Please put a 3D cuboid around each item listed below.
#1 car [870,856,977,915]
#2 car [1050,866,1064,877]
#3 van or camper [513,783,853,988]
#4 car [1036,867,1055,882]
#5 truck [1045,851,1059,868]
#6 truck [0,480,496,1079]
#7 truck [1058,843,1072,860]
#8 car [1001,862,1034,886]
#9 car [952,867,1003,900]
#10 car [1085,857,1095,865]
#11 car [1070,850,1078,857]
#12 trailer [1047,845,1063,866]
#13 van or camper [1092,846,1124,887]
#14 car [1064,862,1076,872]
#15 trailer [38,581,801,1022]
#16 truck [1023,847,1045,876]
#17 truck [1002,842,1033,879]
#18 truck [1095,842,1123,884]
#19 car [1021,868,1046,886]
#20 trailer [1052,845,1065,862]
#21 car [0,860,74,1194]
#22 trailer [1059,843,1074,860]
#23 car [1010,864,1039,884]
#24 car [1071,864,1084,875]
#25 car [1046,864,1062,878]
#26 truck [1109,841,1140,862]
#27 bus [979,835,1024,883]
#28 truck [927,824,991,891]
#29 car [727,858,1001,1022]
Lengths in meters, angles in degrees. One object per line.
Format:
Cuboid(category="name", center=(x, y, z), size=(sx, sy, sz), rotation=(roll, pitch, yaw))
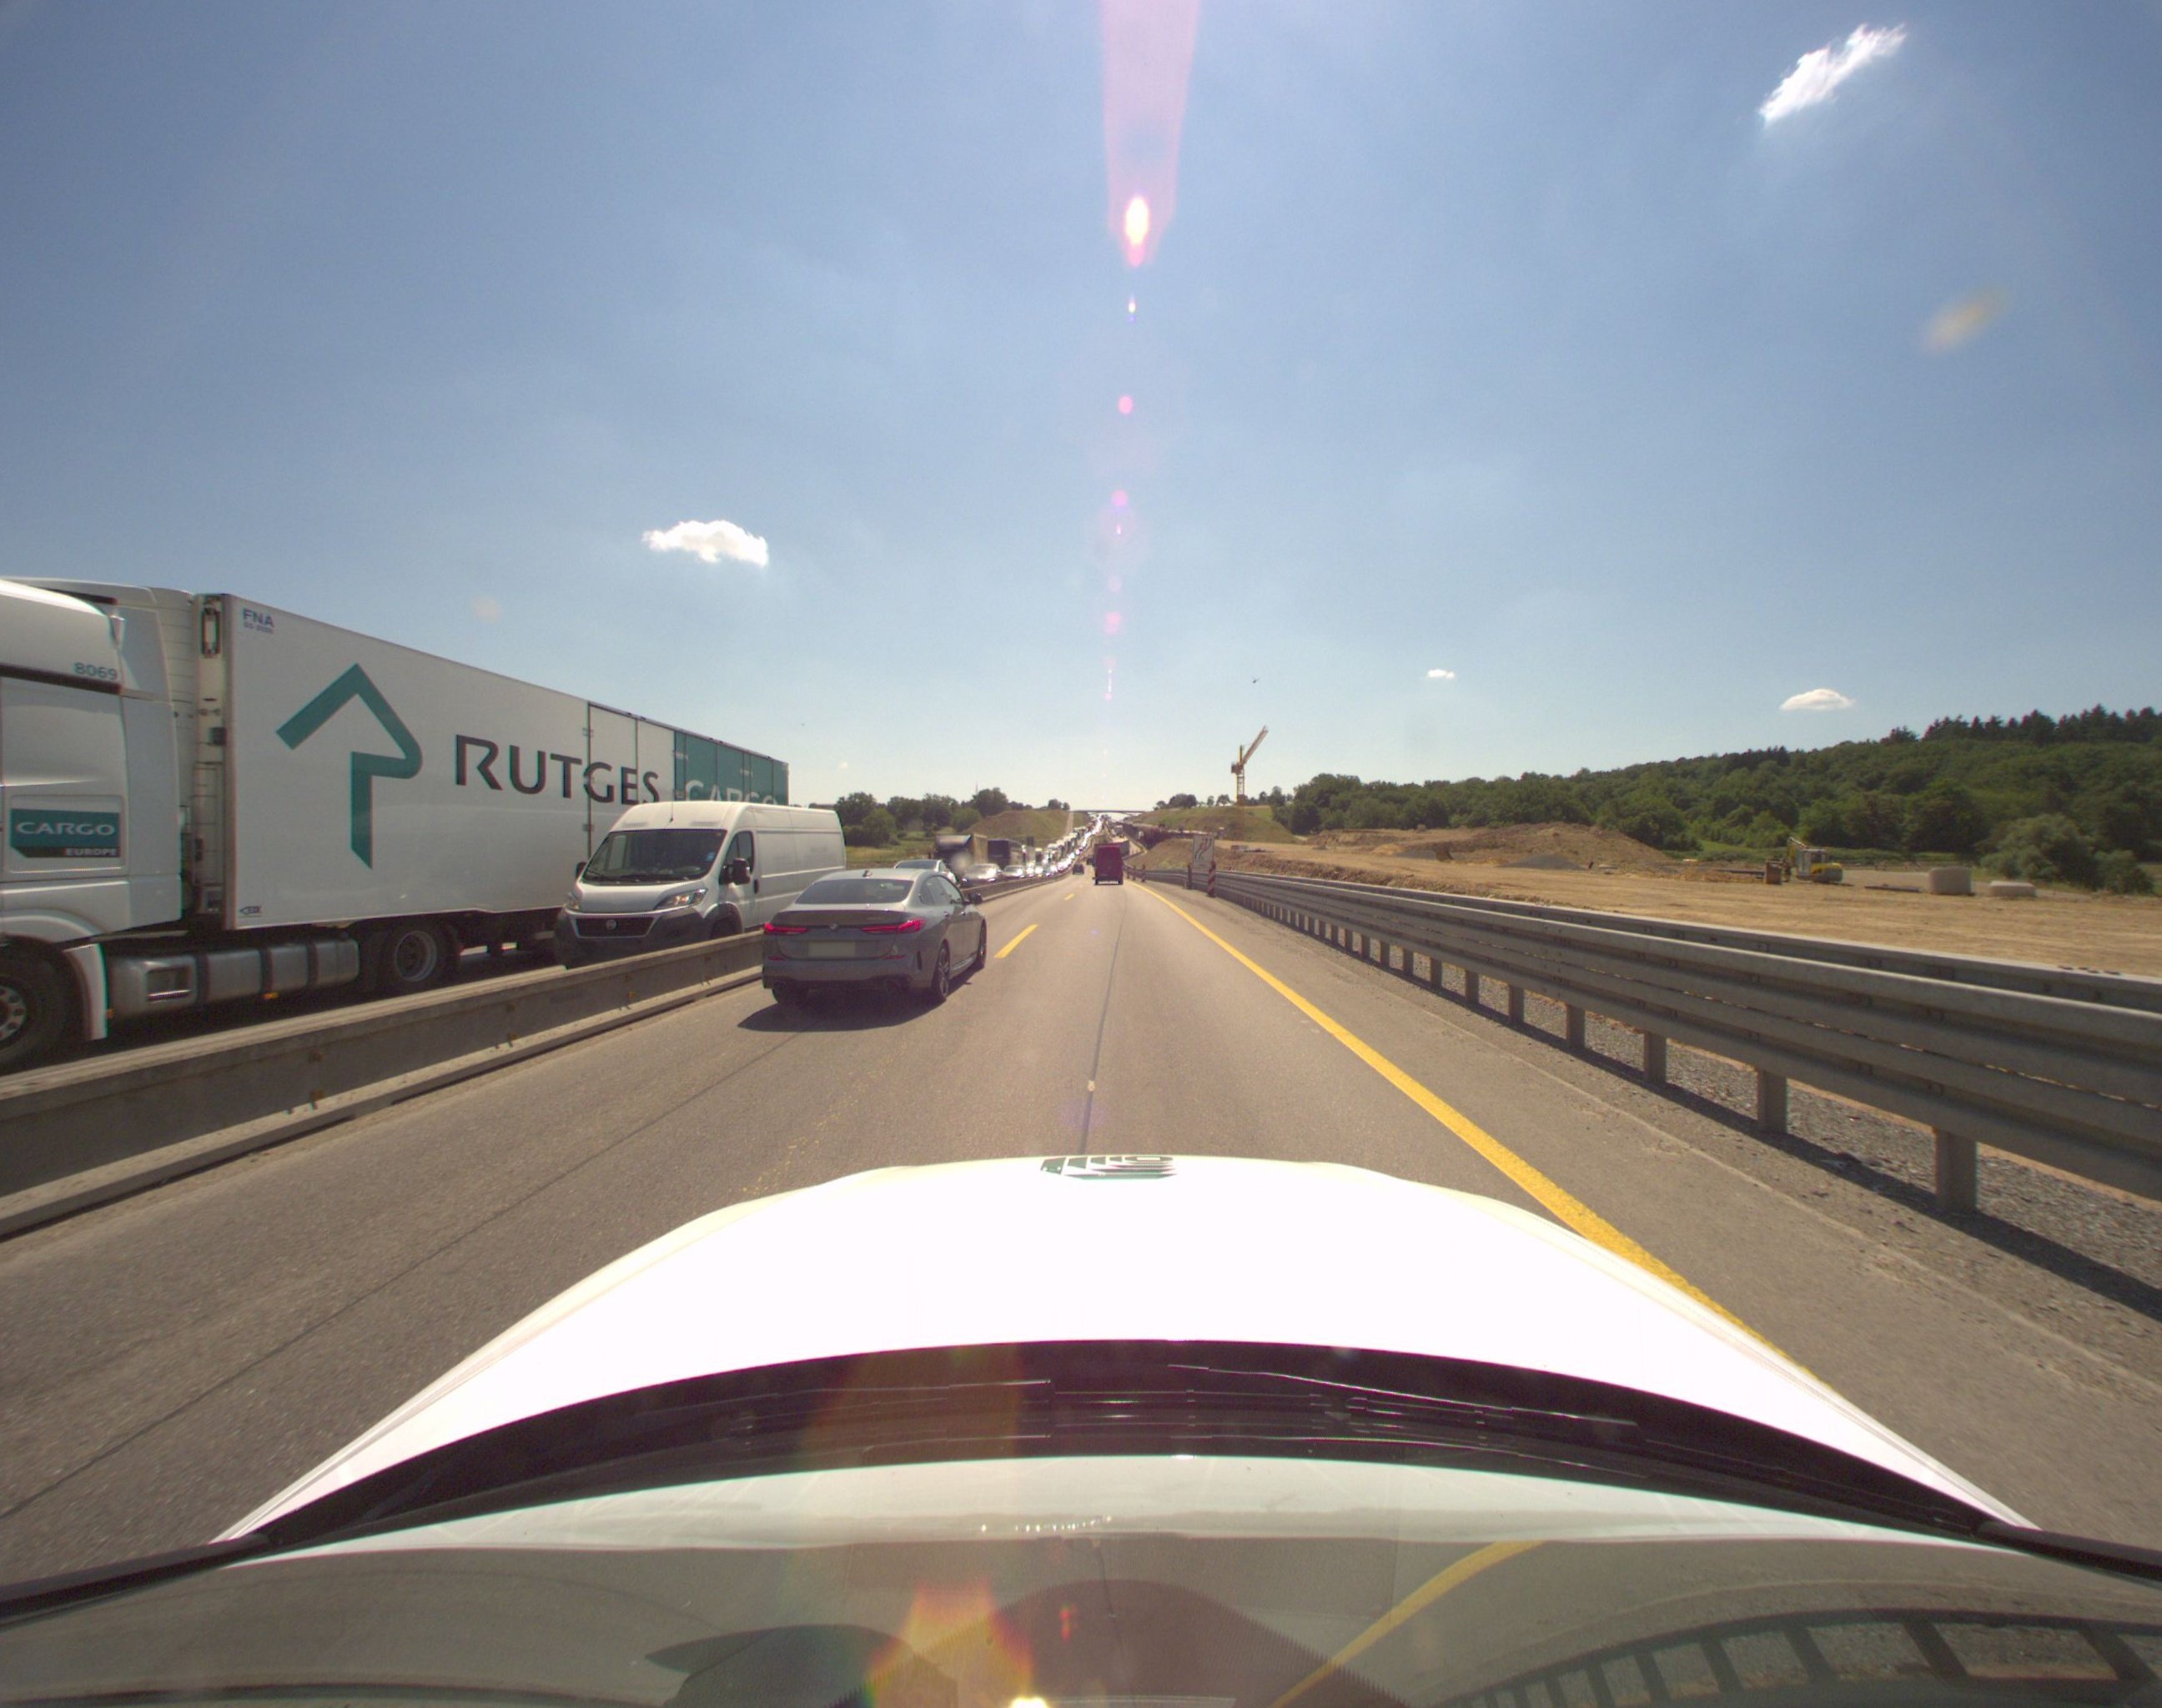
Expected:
Cuboid(category="car", center=(-5.198, 0.982, 27.830), size=(2.363, 1.726, 5.783), rotation=(0, 1, 1))
Cuboid(category="car", center=(-3.639, 2.669, 124.241), size=(1.987, 1.631, 4.757), rotation=(1, 0, 0))
Cuboid(category="van or camper", center=(-5.817, 0.361, 13.305), size=(2.211, 2.511, 6.535), rotation=(1, 0, 1))
Cuboid(category="car", center=(-3.985, 2.285, 91.826), size=(1.806, 1.437, 5.120), rotation=(1, 0, 0))
Cuboid(category="truck", center=(-5.639, 1.006, 160.366), size=(2.426, 3.148, 7.022), rotation=(-1, 1, 0))
Cuboid(category="truck", center=(-9.258, -0.544, 7.661), size=(2.796, 4.392, 6.227), rotation=(-1, 0, 2))
Cuboid(category="truck", center=(-4.338, -0.603, 221.585), size=(3.038, 4.480, 5.988), rotation=(-1, 1, 4))
Cuboid(category="car", center=(-4.485, 1.398, 58.125), size=(1.853, 1.494, 4.903), rotation=(-3, -1, 0))
Cuboid(category="car", center=(-5.197, 1.470, 41.600), size=(1.876, 1.432, 5.125), rotation=(1, 0, 1))
Cuboid(category="car", center=(1.930, 1.494, 172.240), size=(2.005, 1.545, 4.132), rotation=(1, 0, 0))
Cuboid(category="car", center=(-1.843, -0.258, 213.155), size=(1.988, 1.783, 3.999), rotation=(1, 1, -1))
Cuboid(category="trailer", center=(-5.547, 0.268, 175.185), size=(2.585, 4.257, 12.471), rotation=(-1, 0, 1))
Cuboid(category="van or camper", center=(1.874, 0.817, 57.297), size=(2.023, 2.744, 4.514), rotation=(0, 0, -1))
Cuboid(category="car", center=(-1.964, 2.216, 144.707), size=(1.987, 1.556, 4.338), rotation=(3, 1, 0))
Cuboid(category="trailer", center=(-9.026, -0.469, 14.878), size=(2.804, 4.430, 13.172), rotation=(-1, -1, 2))
Cuboid(category="truck", center=(-6.916, 1.147, 120.044), size=(2.969, 4.185, 5.870), rotation=(-1, -1, -1))
Cuboid(category="truck", center=(-7.549, 0.726, 97.051), size=(3.087, 4.198, 6.701), rotation=(0, 0, 0))
Cuboid(category="truck", center=(3.301, 0.996, 95.404), size=(3.008, 4.693, 6.937), rotation=(-2, 0, 3))
Cuboid(category="car", center=(-4.238, 2.076, 73.505), size=(1.911, 1.423, 5.091), rotation=(0, 1, 1))
Cuboid(category="trailer", center=(-5.395, 0.017, 197.861), size=(2.774, 3.931, 11.008), rotation=(-1, -1, 1))
Cuboid(category="car", center=(-5.914, 0.799, 1.447), size=(1.986, 1.498, 4.976), rotation=(0, 1, 1))
Cuboid(category="trailer", center=(-4.038, -0.687, 226.953), size=(3.029, 4.552, 12.139), rotation=(-1, 0, 4))
Cuboid(category="car", center=(-4.466, 1.581, 64.978), size=(1.832, 1.443, 4.930), rotation=(0, 1, 1))
Cuboid(category="car", center=(-0.489, 2.402, 125.311), size=(2.006, 1.545, 4.131), rotation=(0, 0, 0))
Cuboid(category="car", center=(-3.519, 2.201, 106.591), size=(1.987, 1.620, 4.882), rotation=(0, 1, 0))
Cuboid(category="truck", center=(10.864, -0.615, 201.517), size=(5.124, 4.996, 13.928), rotation=(1, 1, 14))
Cuboid(category="bus", center=(-7.598, 0.341, 79.834), size=(2.730, 4.263, 14.478), rotation=(0, 1, 1))
Cuboid(category="truck", center=(-8.219, 0.314, 56.152), size=(2.793, 4.153, 10.077), rotation=(1, -1, 0))
Cuboid(category="car", center=(-2.269, 0.816, 9.995), size=(1.844, 1.452, 4.746), rotation=(0, 1, 3))
